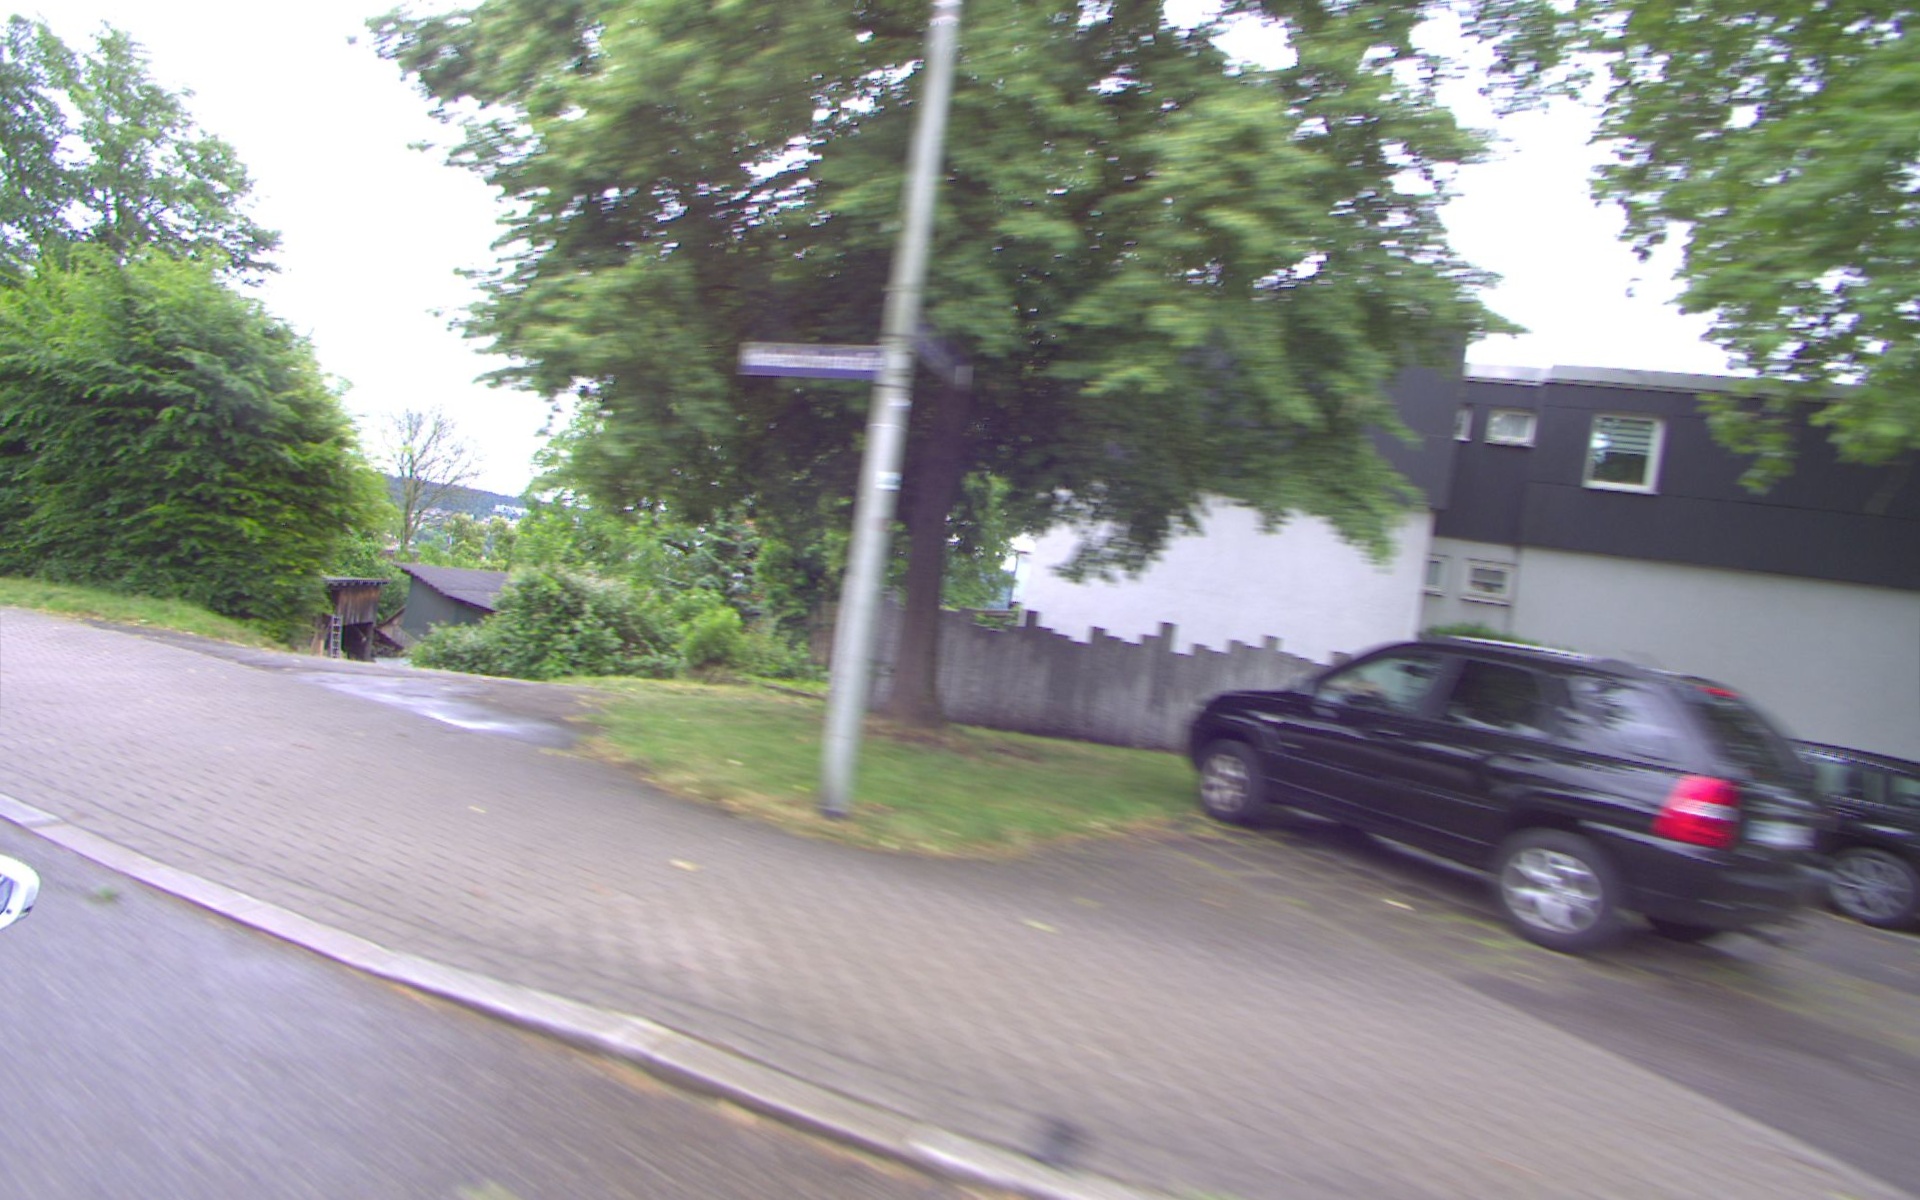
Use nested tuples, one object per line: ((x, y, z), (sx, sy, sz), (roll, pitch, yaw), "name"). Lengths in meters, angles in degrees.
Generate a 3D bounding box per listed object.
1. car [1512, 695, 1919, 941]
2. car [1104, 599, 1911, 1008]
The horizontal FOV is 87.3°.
((8.119, 2.091, 9.886), (1.733, 1.487, 4.543), (10, -1, -20), "car")
((3.440, 1.142, 7.534), (1.934, 1.709, 4.865), (10, -1, -29), "car")
